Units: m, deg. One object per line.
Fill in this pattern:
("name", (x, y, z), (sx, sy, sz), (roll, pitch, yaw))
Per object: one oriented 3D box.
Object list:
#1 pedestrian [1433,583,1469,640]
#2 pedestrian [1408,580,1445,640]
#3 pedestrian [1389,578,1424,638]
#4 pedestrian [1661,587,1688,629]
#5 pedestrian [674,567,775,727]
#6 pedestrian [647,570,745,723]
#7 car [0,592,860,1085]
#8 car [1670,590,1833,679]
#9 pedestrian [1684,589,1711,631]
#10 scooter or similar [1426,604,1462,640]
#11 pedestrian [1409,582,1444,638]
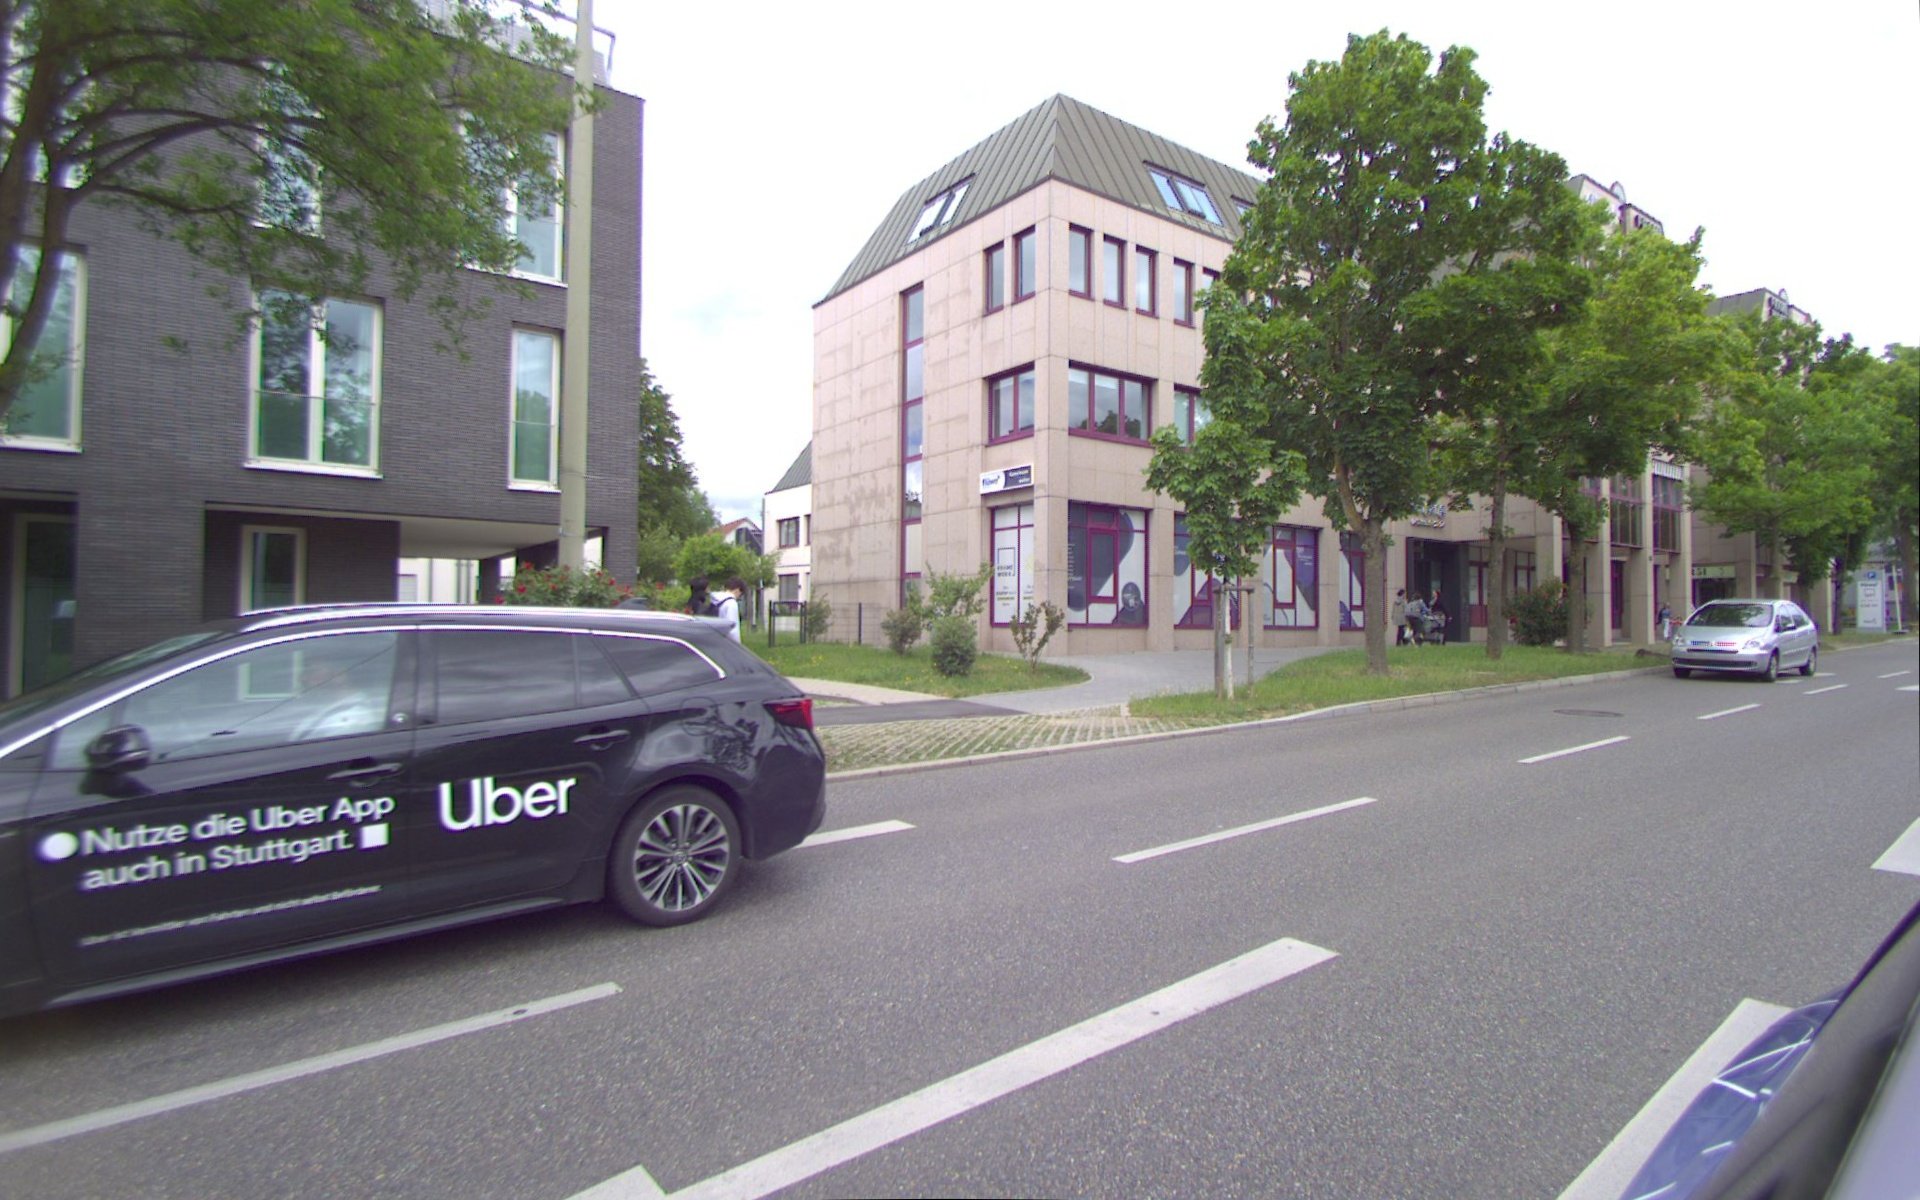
("pedestrian", (15.089, 0.337, 31.091), (0.951, 1.726, 0.597), (0, -1, -35))
("pedestrian", (13.166, 0.265, 28.562), (0.943, 1.673, 0.557), (0, 0, -34))
("pedestrian", (12.938, 0.231, 29.304), (0.814, 1.721, 0.569), (0, -1, -36))
("pedestrian", (29.605, 0.320, 41.944), (0.827, 1.712, 0.659), (0, 1, -36))
("pedestrian", (-2.767, 0.542, 11.905), (0.936, 1.798, 0.609), (3, -3, -40))
("pedestrian", (-3.230, 0.566, 12.408), (0.936, 1.798, 0.609), (3, -3, -40))
("car", (-2.716, 0.718, 4.373), (4.343, 1.467, 1.767), (-1, 0, -41))
("car", (16.401, 0.644, 20.909), (4.080, 1.656, 1.763), (0, 0, -39))
("pedestrian", (30.148, 0.403, 41.381), (0.827, 1.712, 0.659), (0, 1, -36))
("scooter or similar", (13.905, 0.616, 29.059), (0.830, 1.006, 0.585), (0, 0, -34))
("pedestrian", (14.548, 0.308, 31.561), (0.951, 1.726, 0.597), (0, -1, -35))
